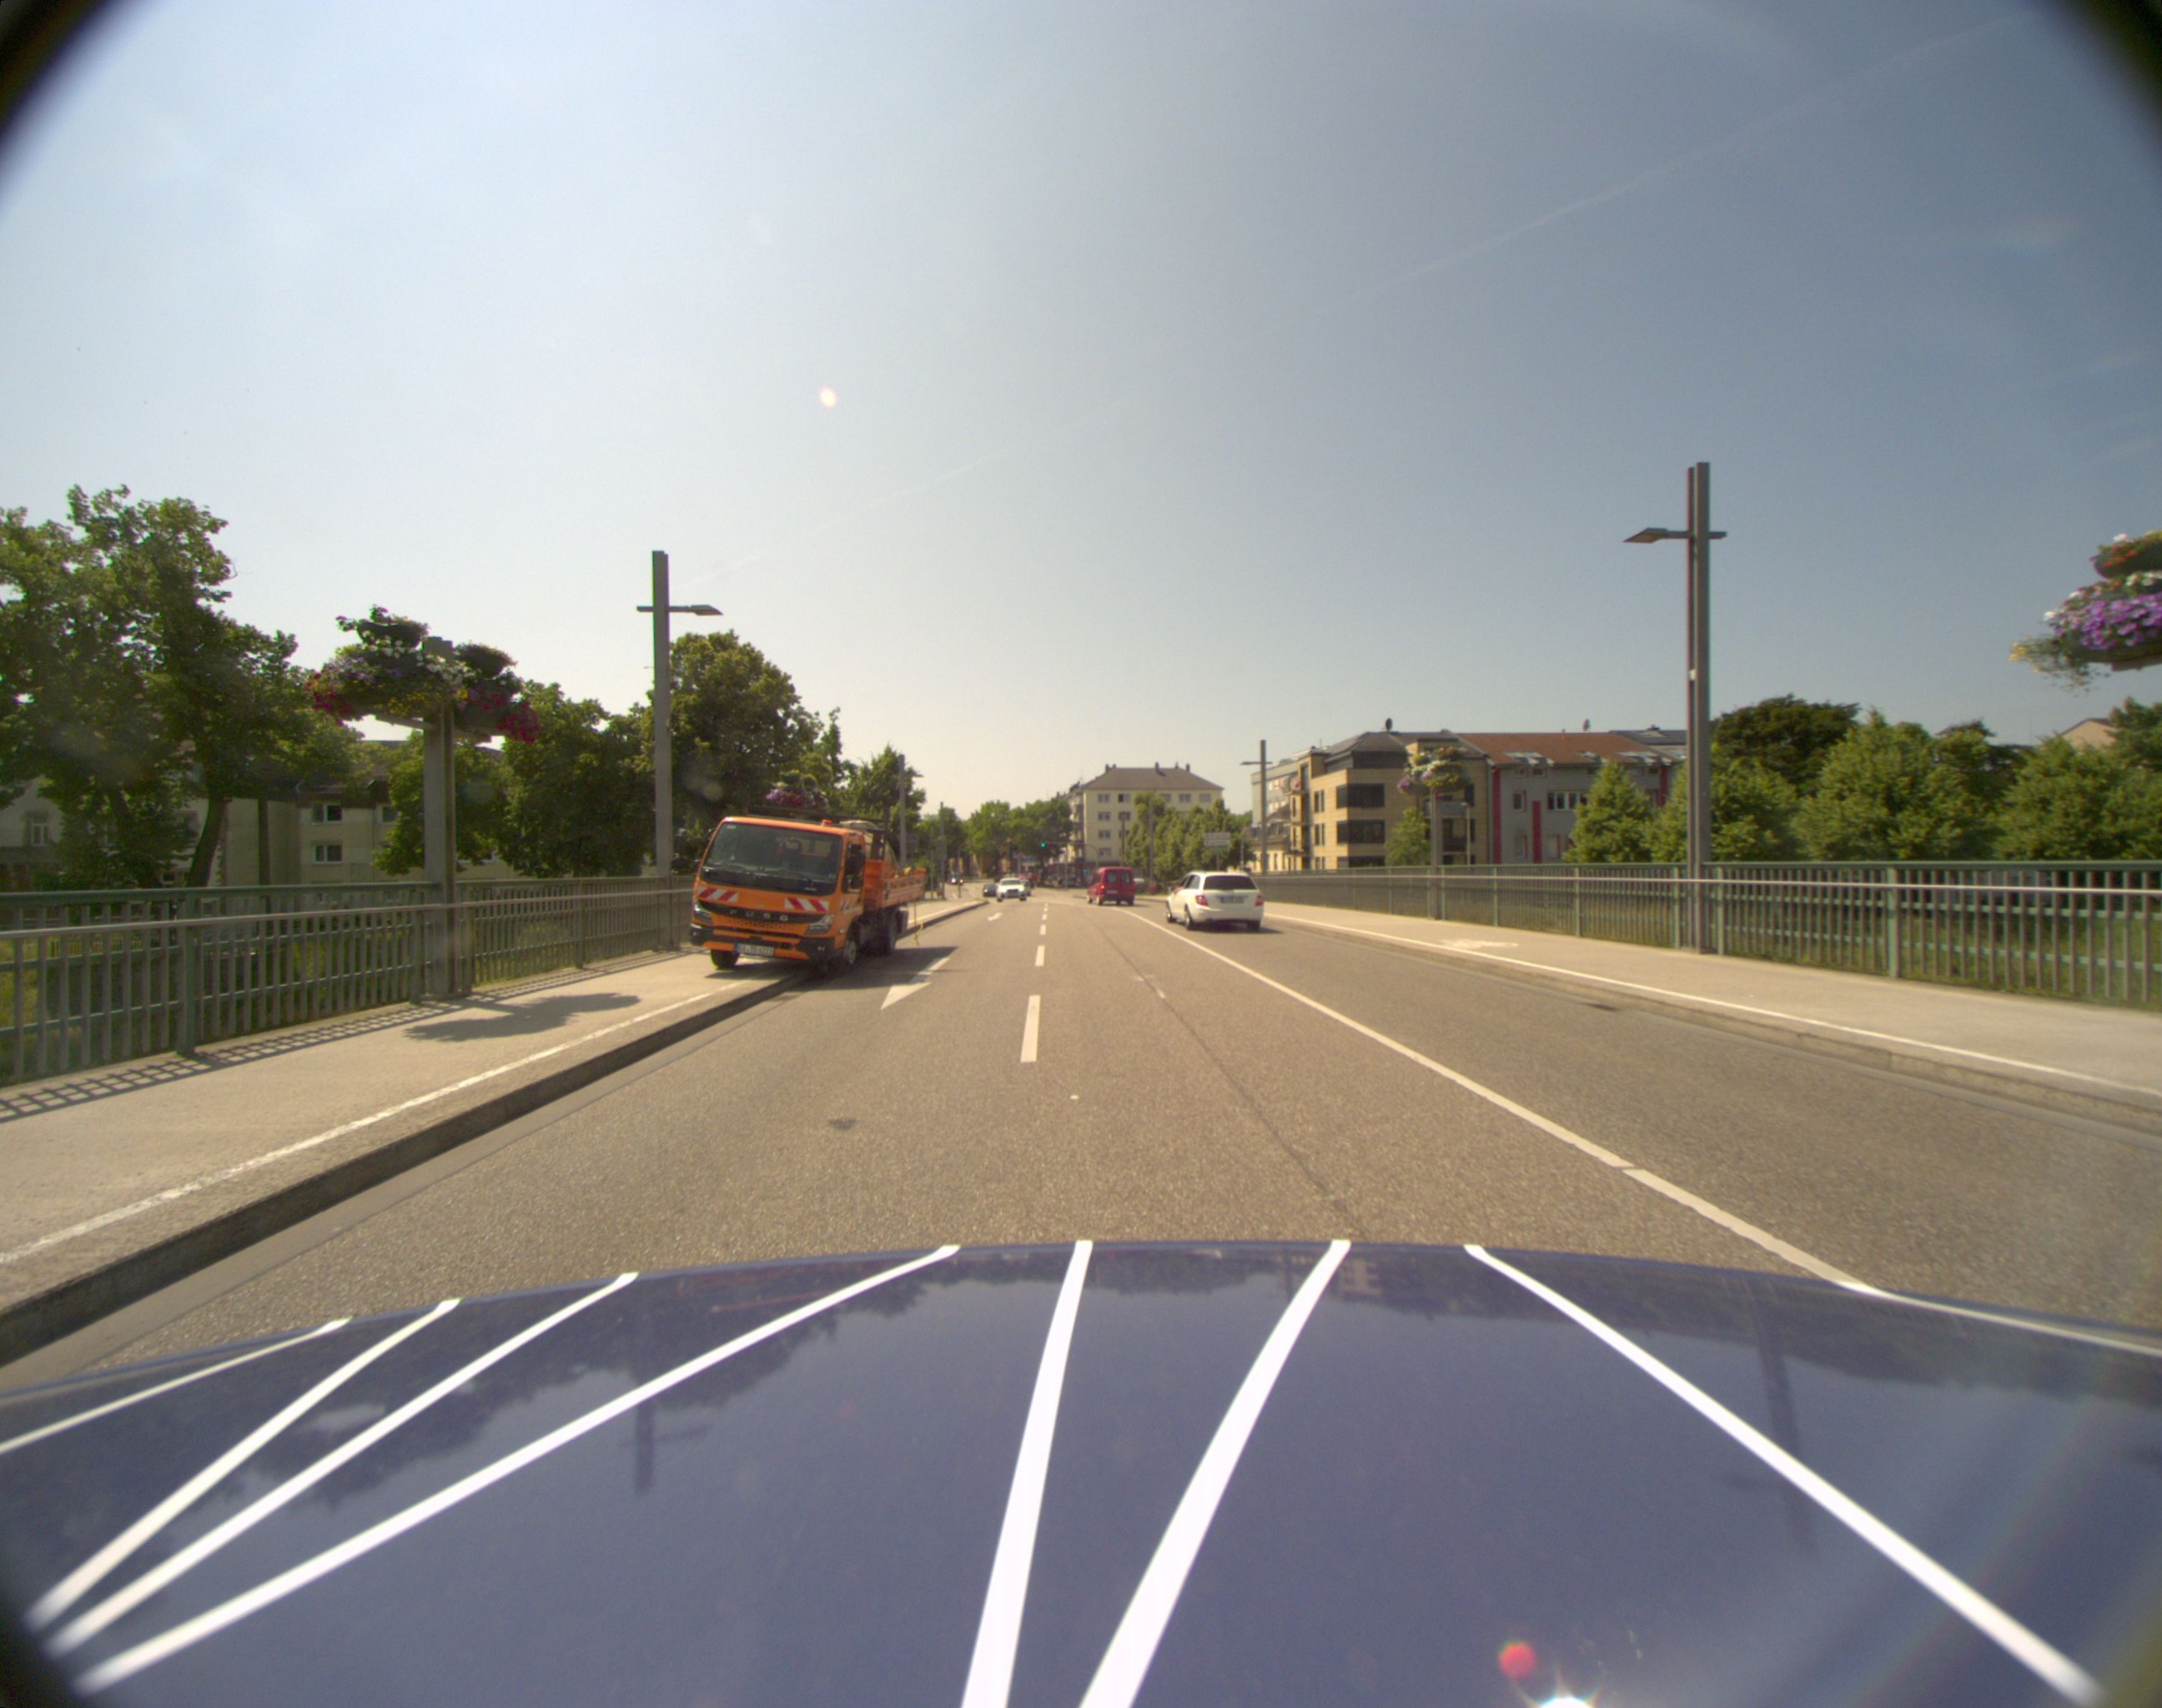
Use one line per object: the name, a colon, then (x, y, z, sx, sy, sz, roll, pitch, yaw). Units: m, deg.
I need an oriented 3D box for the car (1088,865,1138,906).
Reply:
car: (1.457, 1.433, 35.896, 1.741, 1.766, 4.173, 1, 0, -6)

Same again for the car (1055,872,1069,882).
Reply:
car: (-3.204, 3.947, 129.440, 1.627, 1.559, 4.835, -1, 0, -10)

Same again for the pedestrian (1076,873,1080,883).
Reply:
pedestrian: (-0.500, 4.020, 126.606, 0.629, 1.749, 0.742, -1, 0, -11)

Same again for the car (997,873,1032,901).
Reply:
car: (-4.689, 2.251, 52.949, 2.000, 1.739, 4.442, -2, 0, -9)

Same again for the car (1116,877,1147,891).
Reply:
car: (6.776, 3.986, 101.637, 3.699, 1.725, 1.892, 2, 0, -12)

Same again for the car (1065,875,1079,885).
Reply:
car: (-1.486, 4.190, 121.529, 1.588, 1.450, 3.936, -1, 0, -11)

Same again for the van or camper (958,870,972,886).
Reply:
van or camper: (-20.998, 4.336, 137.353, 2.166, 2.567, 5.839, -2, 1, -11)

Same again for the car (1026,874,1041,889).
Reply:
car: (-6.864, 3.986, 109.371, 1.743, 1.631, 3.916, 6, 2, -7)

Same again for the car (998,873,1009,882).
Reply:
car: (-14.997, 4.519, 146.568, 1.719, 1.477, 4.027, -3, 1, -9)

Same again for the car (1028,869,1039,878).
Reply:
car: (-9.122, 3.756, 146.592, 1.640, 1.459, 3.631, 0, 0, -10)

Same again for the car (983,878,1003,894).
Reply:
car: (-9.924, 3.583, 85.364, 1.778, 1.480, 3.995, -2, 1, -12)

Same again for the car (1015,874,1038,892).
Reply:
car: (-6.101, 3.206, 85.119, 1.843, 1.849, 4.660, -5, -1, -11)

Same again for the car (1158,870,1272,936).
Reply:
car: (3.316, 1.180, 19.774, 1.849, 1.424, 4.712, 0, 0, -4)

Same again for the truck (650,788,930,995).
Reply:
truck: (-4.336, 0.530, 12.743, 2.613, 2.675, 5.822, 0, -1, -2)
